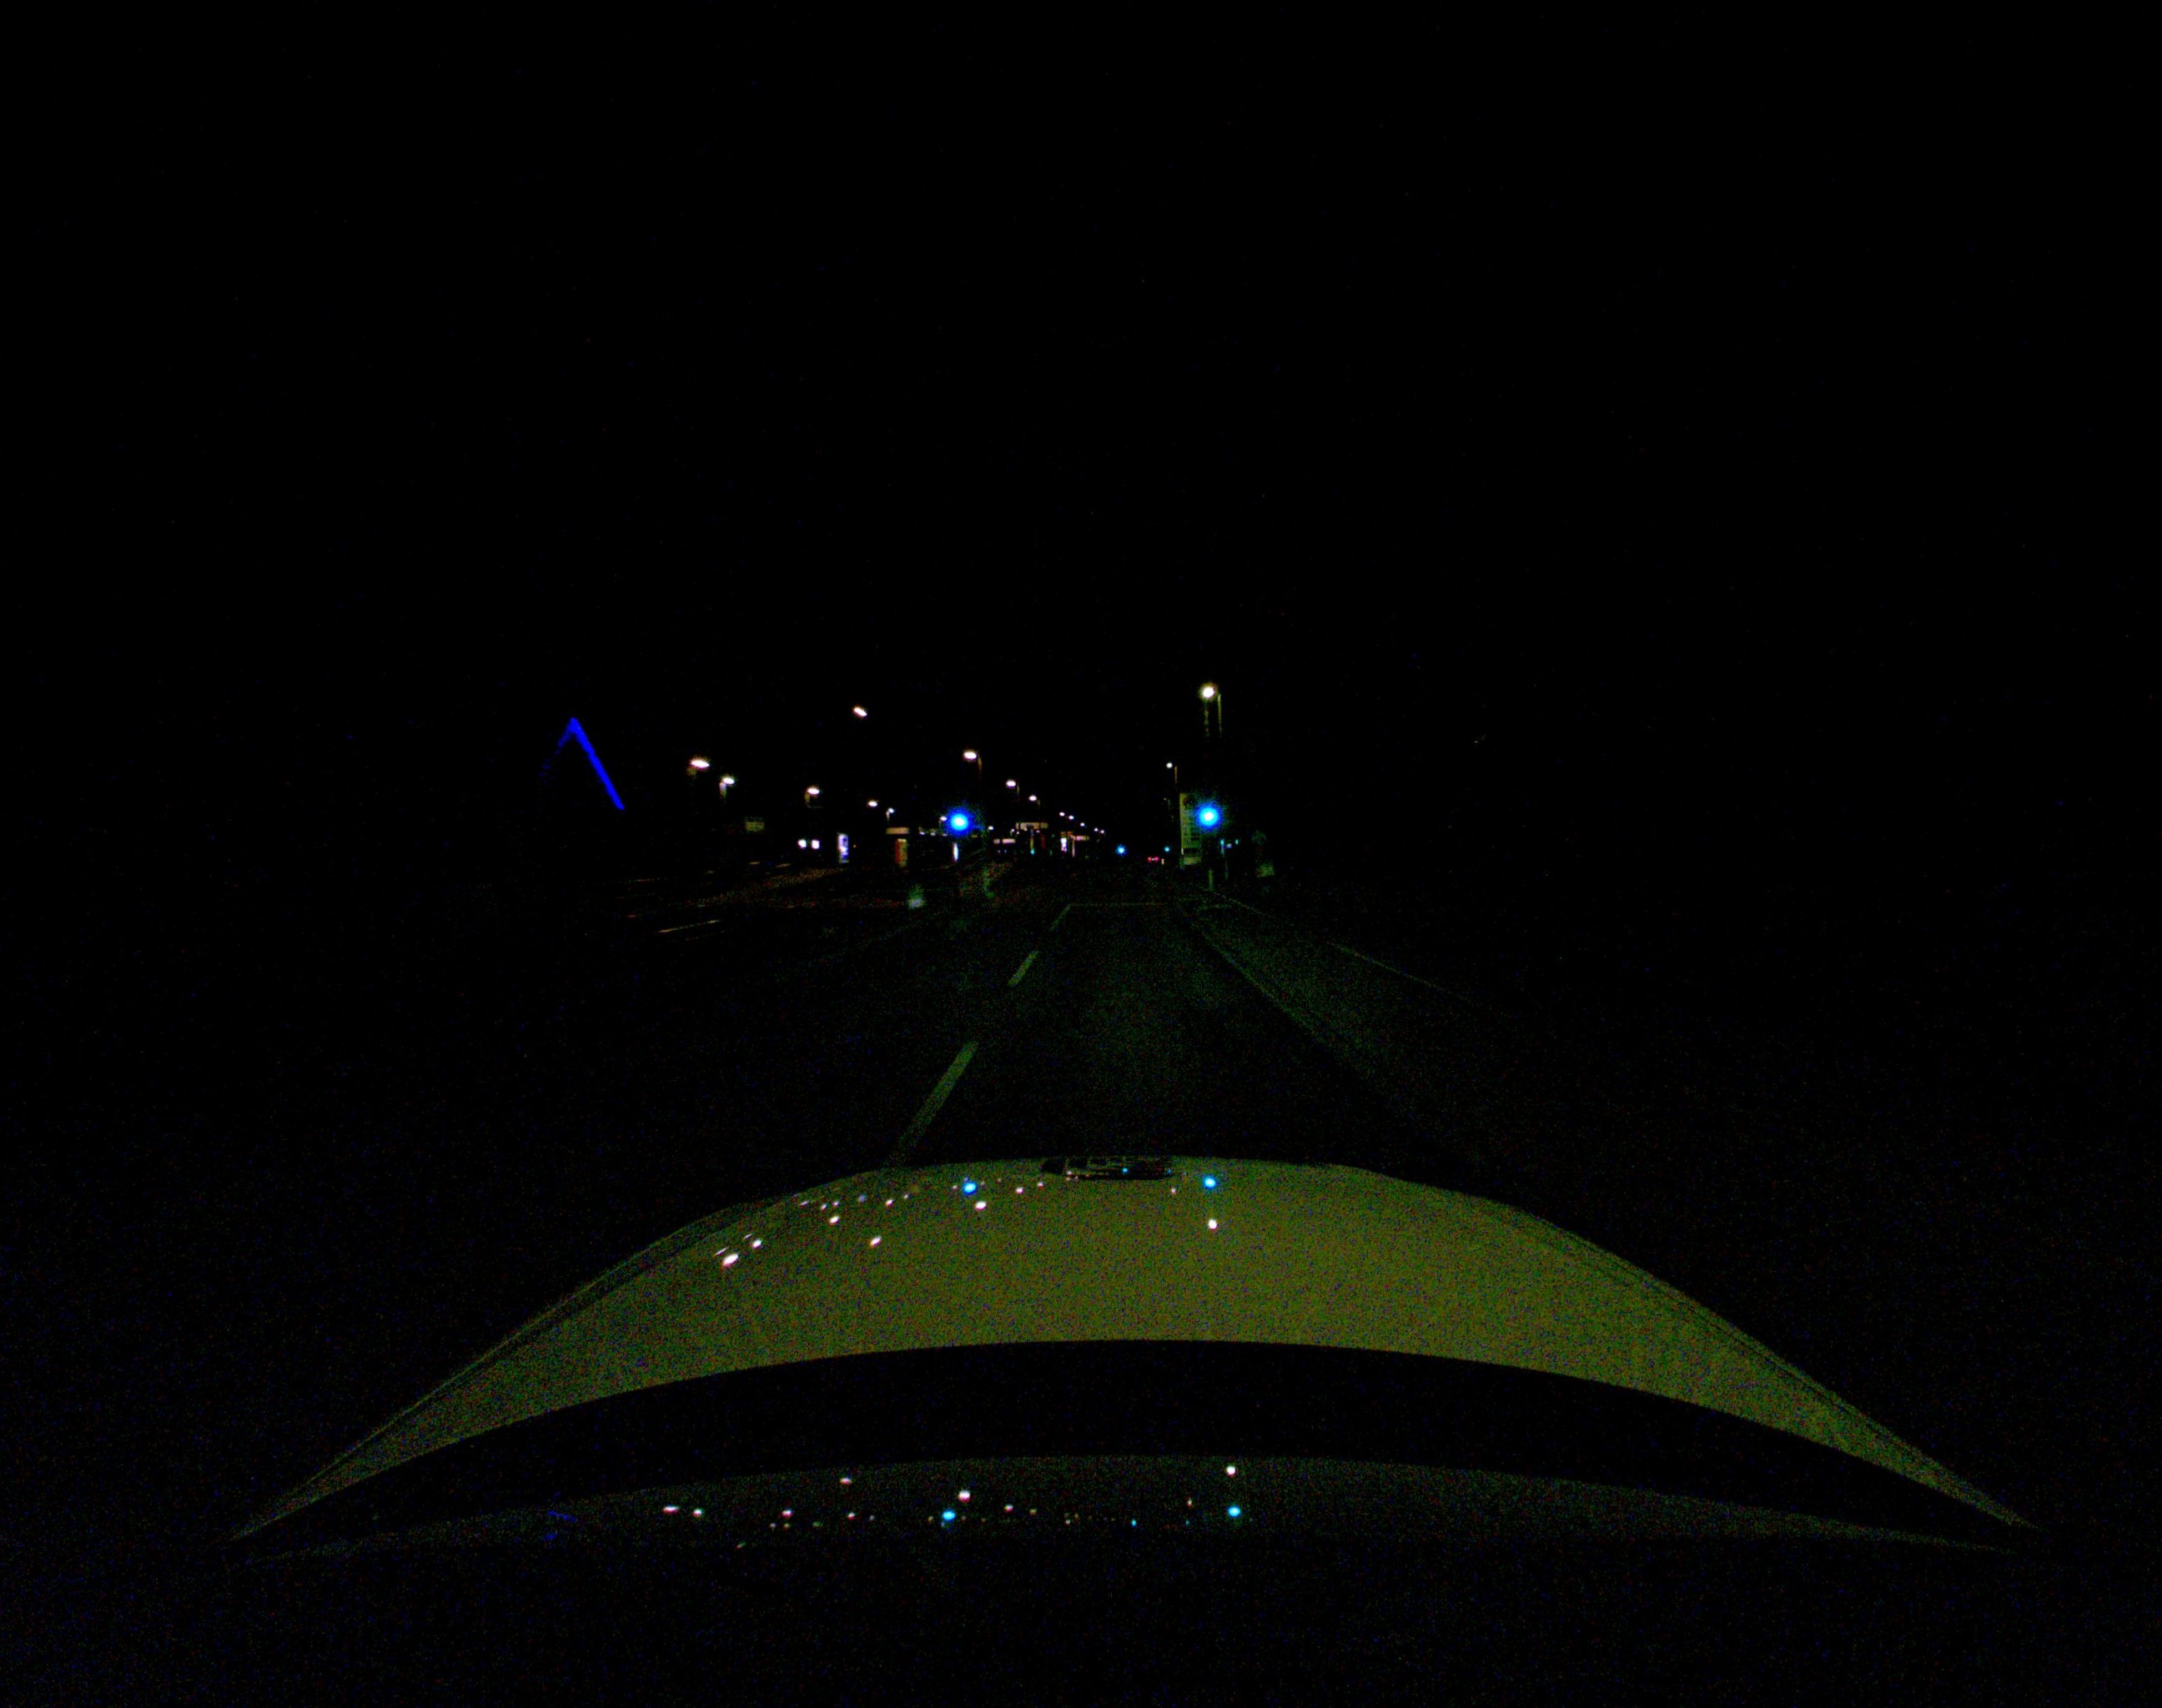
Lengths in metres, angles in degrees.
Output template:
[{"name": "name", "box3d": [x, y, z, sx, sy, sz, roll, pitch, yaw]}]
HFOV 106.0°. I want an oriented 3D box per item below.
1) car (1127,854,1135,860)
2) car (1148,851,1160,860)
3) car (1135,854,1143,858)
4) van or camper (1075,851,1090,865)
[{"name": "car", "box3d": [14.930, 0.929, 242.402, 1.981, 1.628, 4.691, -1, 0, 10]}, {"name": "car", "box3d": [13.696, 0.349, 152.190, 2.150, 1.583, 4.020, 0, -1, 6]}, {"name": "car", "box3d": [18.675, 0.589, 261.945, 1.981, 1.338, 5.448, -1, 0, 11]}, {"name": "van or camper", "box3d": [0.407, 0.751, 168.322, 2.260, 2.647, 5.675, -4, 0, 7]}]
